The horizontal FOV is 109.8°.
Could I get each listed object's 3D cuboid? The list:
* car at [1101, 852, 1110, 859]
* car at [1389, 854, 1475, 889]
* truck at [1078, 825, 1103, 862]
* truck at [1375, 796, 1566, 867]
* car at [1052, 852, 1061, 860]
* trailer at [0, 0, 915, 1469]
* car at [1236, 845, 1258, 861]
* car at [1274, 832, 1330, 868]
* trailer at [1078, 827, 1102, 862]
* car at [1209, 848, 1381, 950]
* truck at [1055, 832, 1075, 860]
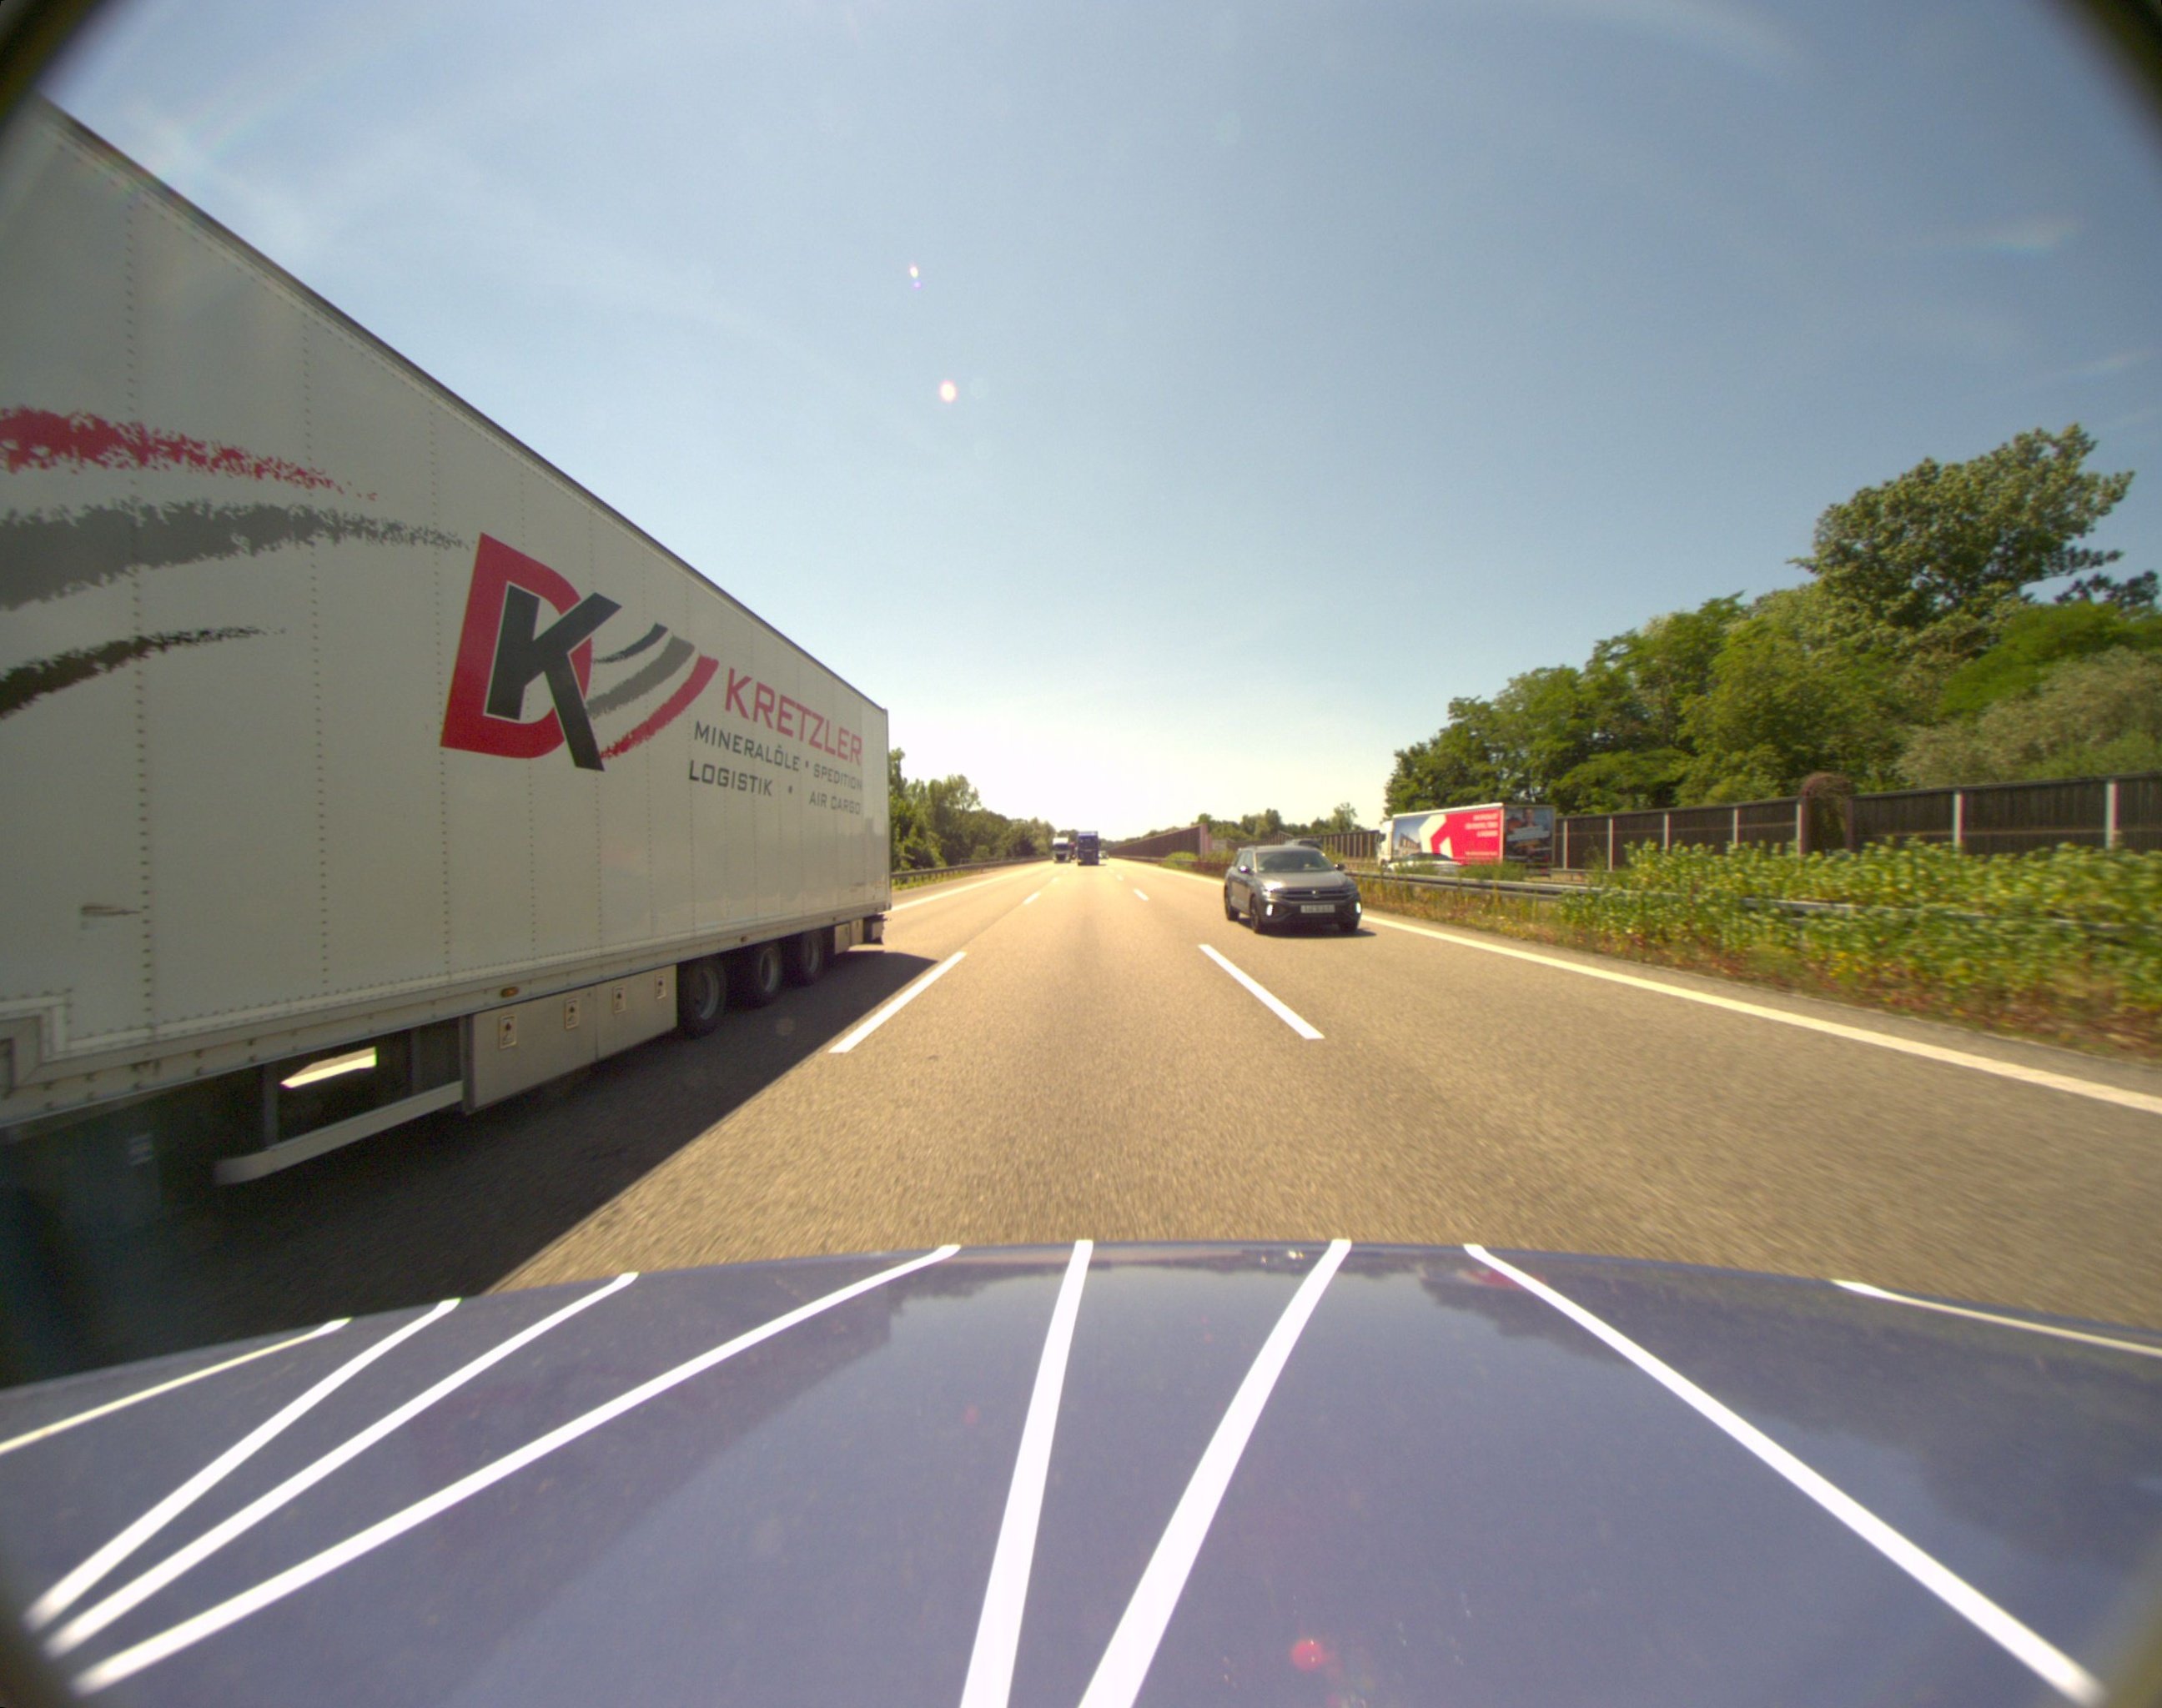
[{"bbox_3d":[5.386,0.394,167.730,2.045,1.559,4.000,-1,0,1],"label":"car"},{"bbox_3d":[15.347,0.714,33.490,1.782,1.404,4.499,-1,1,1],"label":"car"},{"bbox_3d":[1.079,-1.166,89.474,2.707,4.093,6.990,-1,0,0],"label":"truck"},{"bbox_3d":[21.897,-1.069,44.839,2.845,3.322,17.005,-1,0,1],"label":"truck"},{"bbox_3d":[-5.761,0.567,180.569,1.935,1.805,4.000,-1,0,-1],"label":"car"},{"bbox_3d":[-4.656,-0.625,5.776,3.277,4.809,14.030,-1,0,1],"label":"trailer"},{"bbox_3d":[22.701,-0.201,104.018,1.894,2.075,4.766,-1,0,1],"label":"car"},{"bbox_3d":[17.948,-0.338,62.208,2.321,2.548,7.584,-5,0,1],"label":"car"},{"bbox_3d":[1.136,-1.118,96.777,2.707,4.093,12.132,-1,0,1],"label":"trailer"},{"bbox_3d":[3.906,0.746,14.869,1.885,1.630,5.008,-1,0,-1],"label":"car"},{"bbox_3d":[-2.475,-1.233,123.206,2.820,4.139,10.448,-1,0,0],"label":"truck"}]
